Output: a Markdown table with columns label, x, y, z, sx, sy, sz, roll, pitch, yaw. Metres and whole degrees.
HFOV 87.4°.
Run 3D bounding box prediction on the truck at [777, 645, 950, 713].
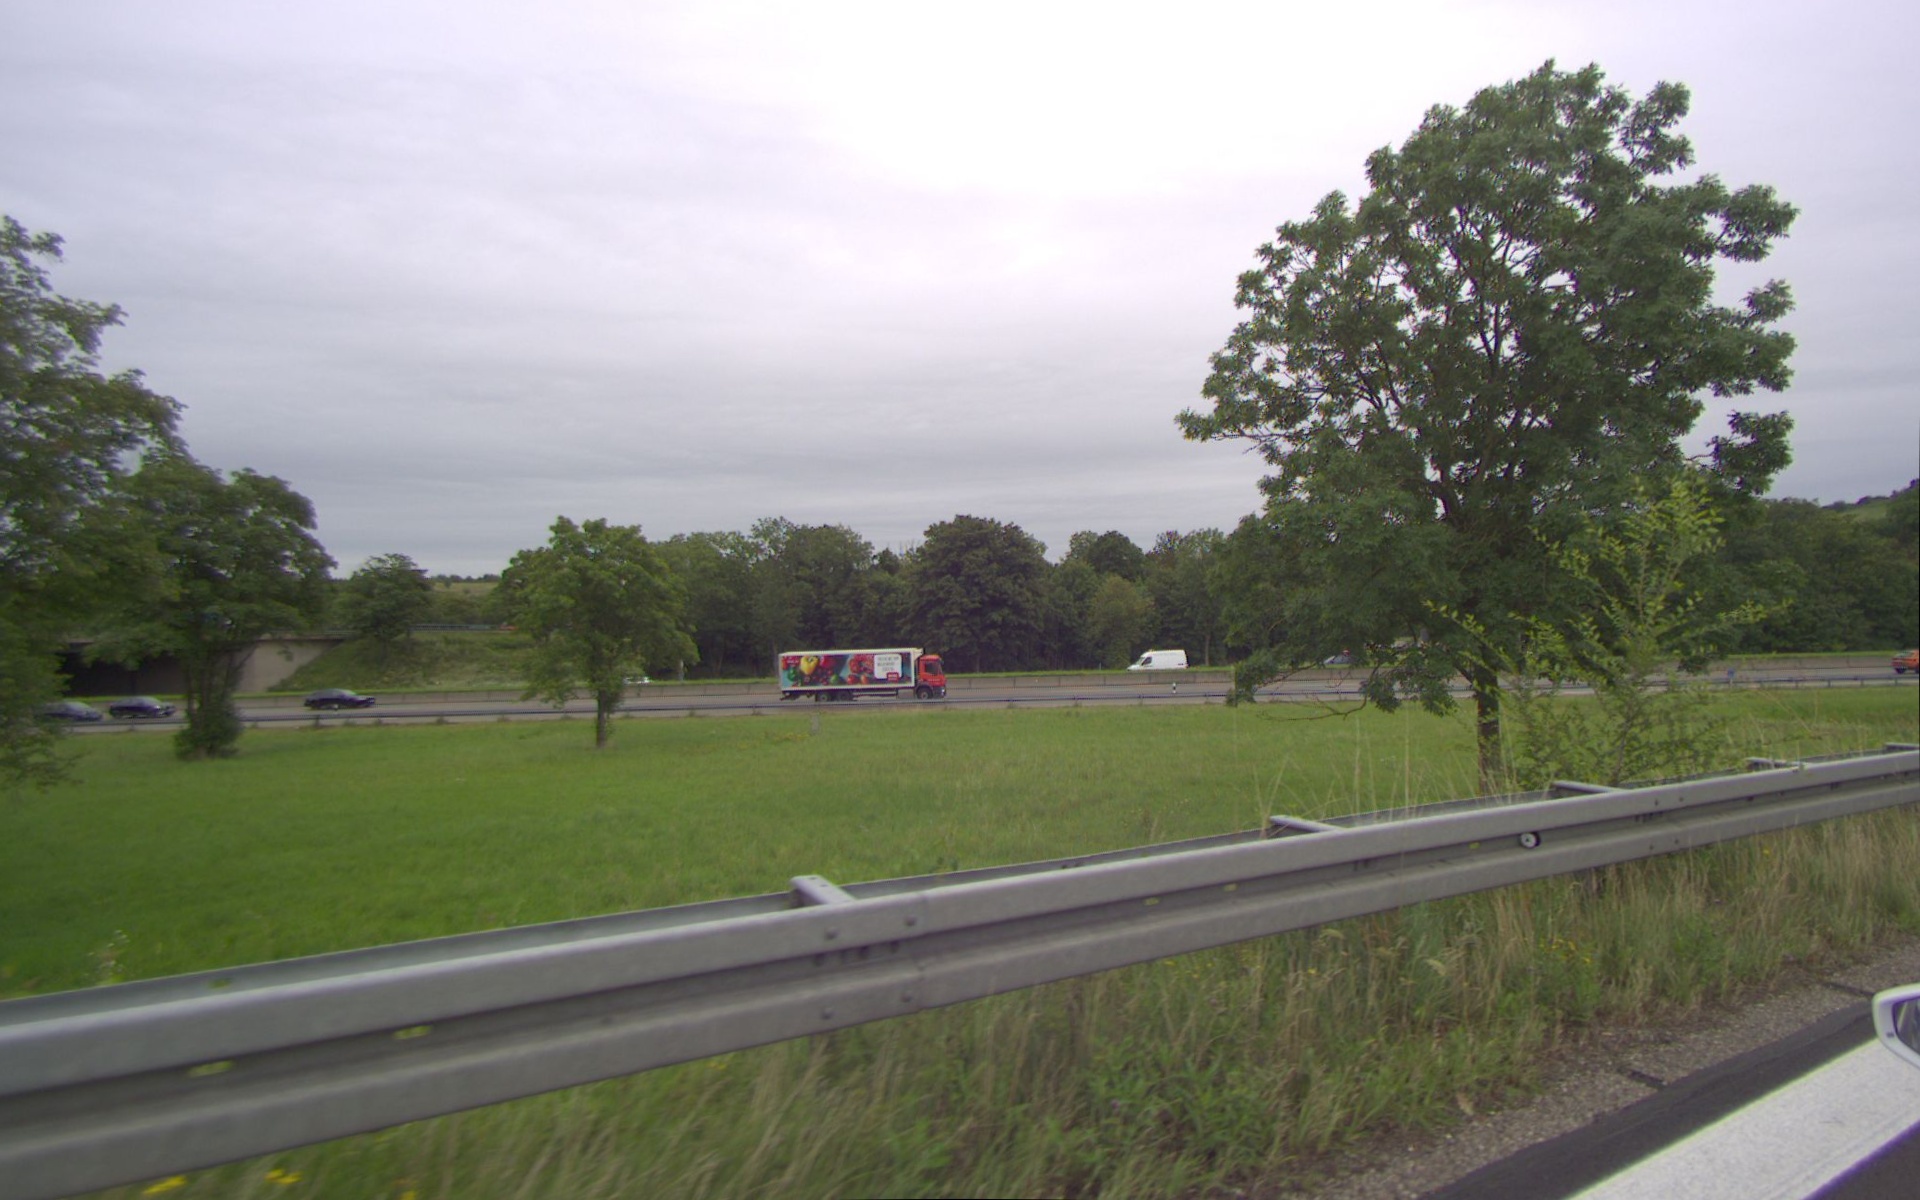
| label | x | y | z | sx | sy | sz | roll | pitch | yaw |
| --- | --- | --- | --- | --- | --- | --- | --- | --- | --- |
| truck | -6.435 | 5.292 | 67.939 | 11.201 | 4.058 | 2.907 | -2 | -1 | 2 |

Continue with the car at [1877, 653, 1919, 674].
| label | x | y | z | sx | sy | sz | roll | pitch | yaw |
| --- | --- | --- | --- | --- | --- | --- | --- | --- | --- |
| car | 65.882 | 4.320 | 68.915 | 3.920 | 1.293 | 1.934 | -3 | -6 | 4 |

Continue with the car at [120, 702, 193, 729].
| label | x | y | z | sx | sy | sz | roll | pitch | yaw |
| --- | --- | --- | --- | --- | --- | --- | --- | --- | --- |
| car | -59.590 | 8.549 | 74.520 | 3.919 | 1.794 | 2.002 | -2 | -4 | 6 |

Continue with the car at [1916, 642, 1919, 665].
| label | x | y | z | sx | sy | sz | roll | pitch | yaw |
| --- | --- | --- | --- | --- | --- | --- | --- | --- | --- |
| car | 71.750 | 3.876 | 72.227 | 3.919 | 1.683 | 2.001 | 0 | -1 | 6 |

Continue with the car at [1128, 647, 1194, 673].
| label | x | y | z | sx | sy | sz | roll | pitch | yaw |
| --- | --- | --- | --- | --- | --- | --- | --- | --- | --- |
| car | 19.377 | 5.814 | 96.943 | 5.851 | 2.129 | 2.027 | -2 | -4 | -5 |
